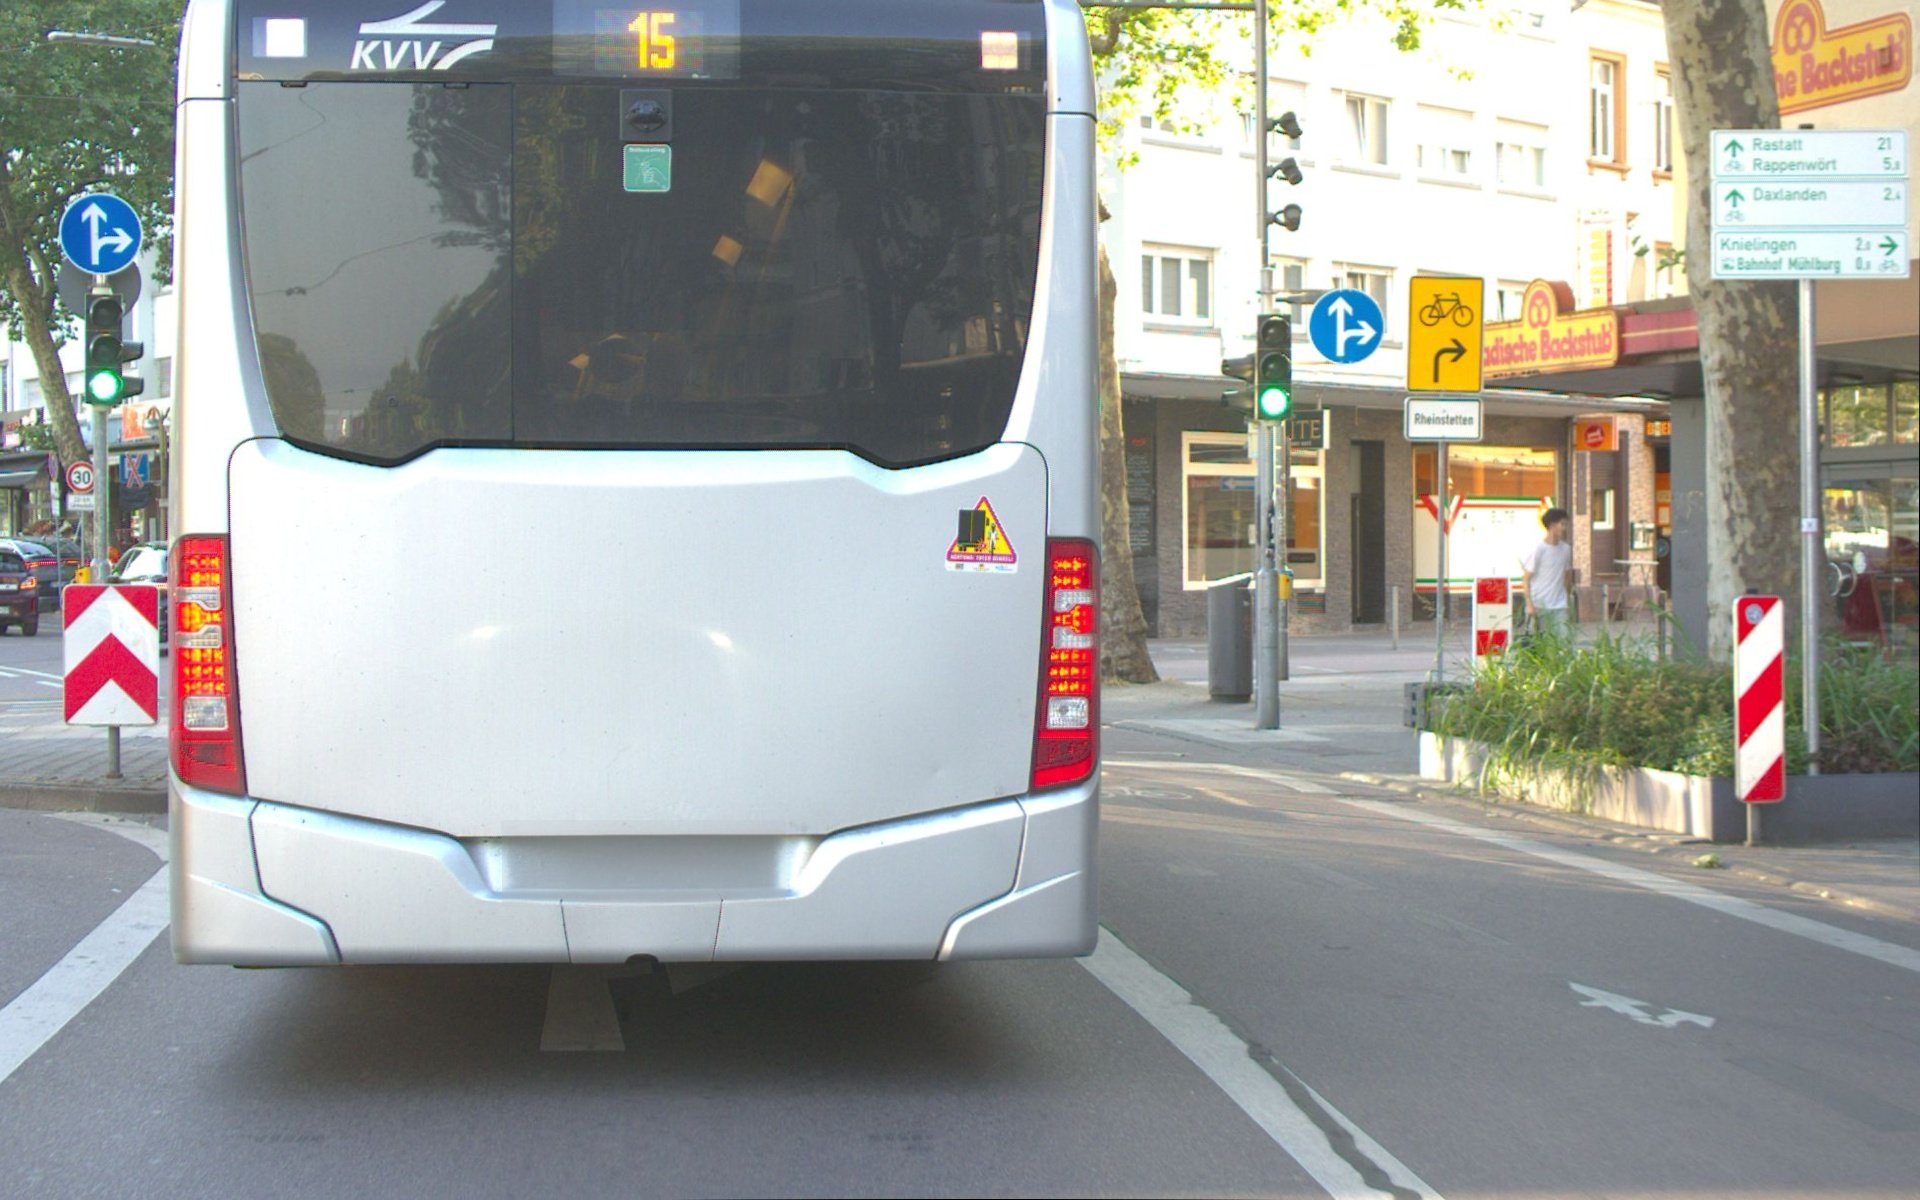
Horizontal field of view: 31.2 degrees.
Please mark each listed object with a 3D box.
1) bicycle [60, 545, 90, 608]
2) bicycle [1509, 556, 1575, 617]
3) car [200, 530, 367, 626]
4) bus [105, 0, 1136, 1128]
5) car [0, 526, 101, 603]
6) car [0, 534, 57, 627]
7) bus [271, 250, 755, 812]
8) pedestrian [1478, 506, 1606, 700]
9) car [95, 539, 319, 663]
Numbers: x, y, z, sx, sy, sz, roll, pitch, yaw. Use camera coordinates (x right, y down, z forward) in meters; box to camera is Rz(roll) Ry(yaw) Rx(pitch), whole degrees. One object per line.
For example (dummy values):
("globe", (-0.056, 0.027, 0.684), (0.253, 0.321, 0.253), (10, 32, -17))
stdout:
("bicycle", (-17.389, -0.469, 67.525), (0.507, 1.207, 2.093), (0, 1, -16))
("bicycle", (10.117, -0.235, 59.706), (0.294, 1.037, 1.714), (-2, -1, 39))
("car", (-11.750, -0.400, 59.616), (1.662, 1.511, 3.413), (-4, 3, -32))
("bus", (-1.617, -0.264, 13.965), (2.657, 3.088, 10.218), (0, 1, -9))
("car", (-19.103, -0.752, 70.769), (1.662, 1.463, 3.412), (-4, 3, -33))
("car", (-16.009, -0.340, 55.877), (1.756, 1.459, 4.001), (0, 1, -27))
("bus", (-3.229, -0.439, 24.108), (2.657, 3.088, 10.218), (0, 1, -9))
("pedestrian", (5.288, 0.011, 31.247), (0.835, 1.706, 0.794), (-2, 2, -20))
("car", (-9.422, -0.025, 42.814), (1.756, 1.459, 4.001), (0, 1, -27))
